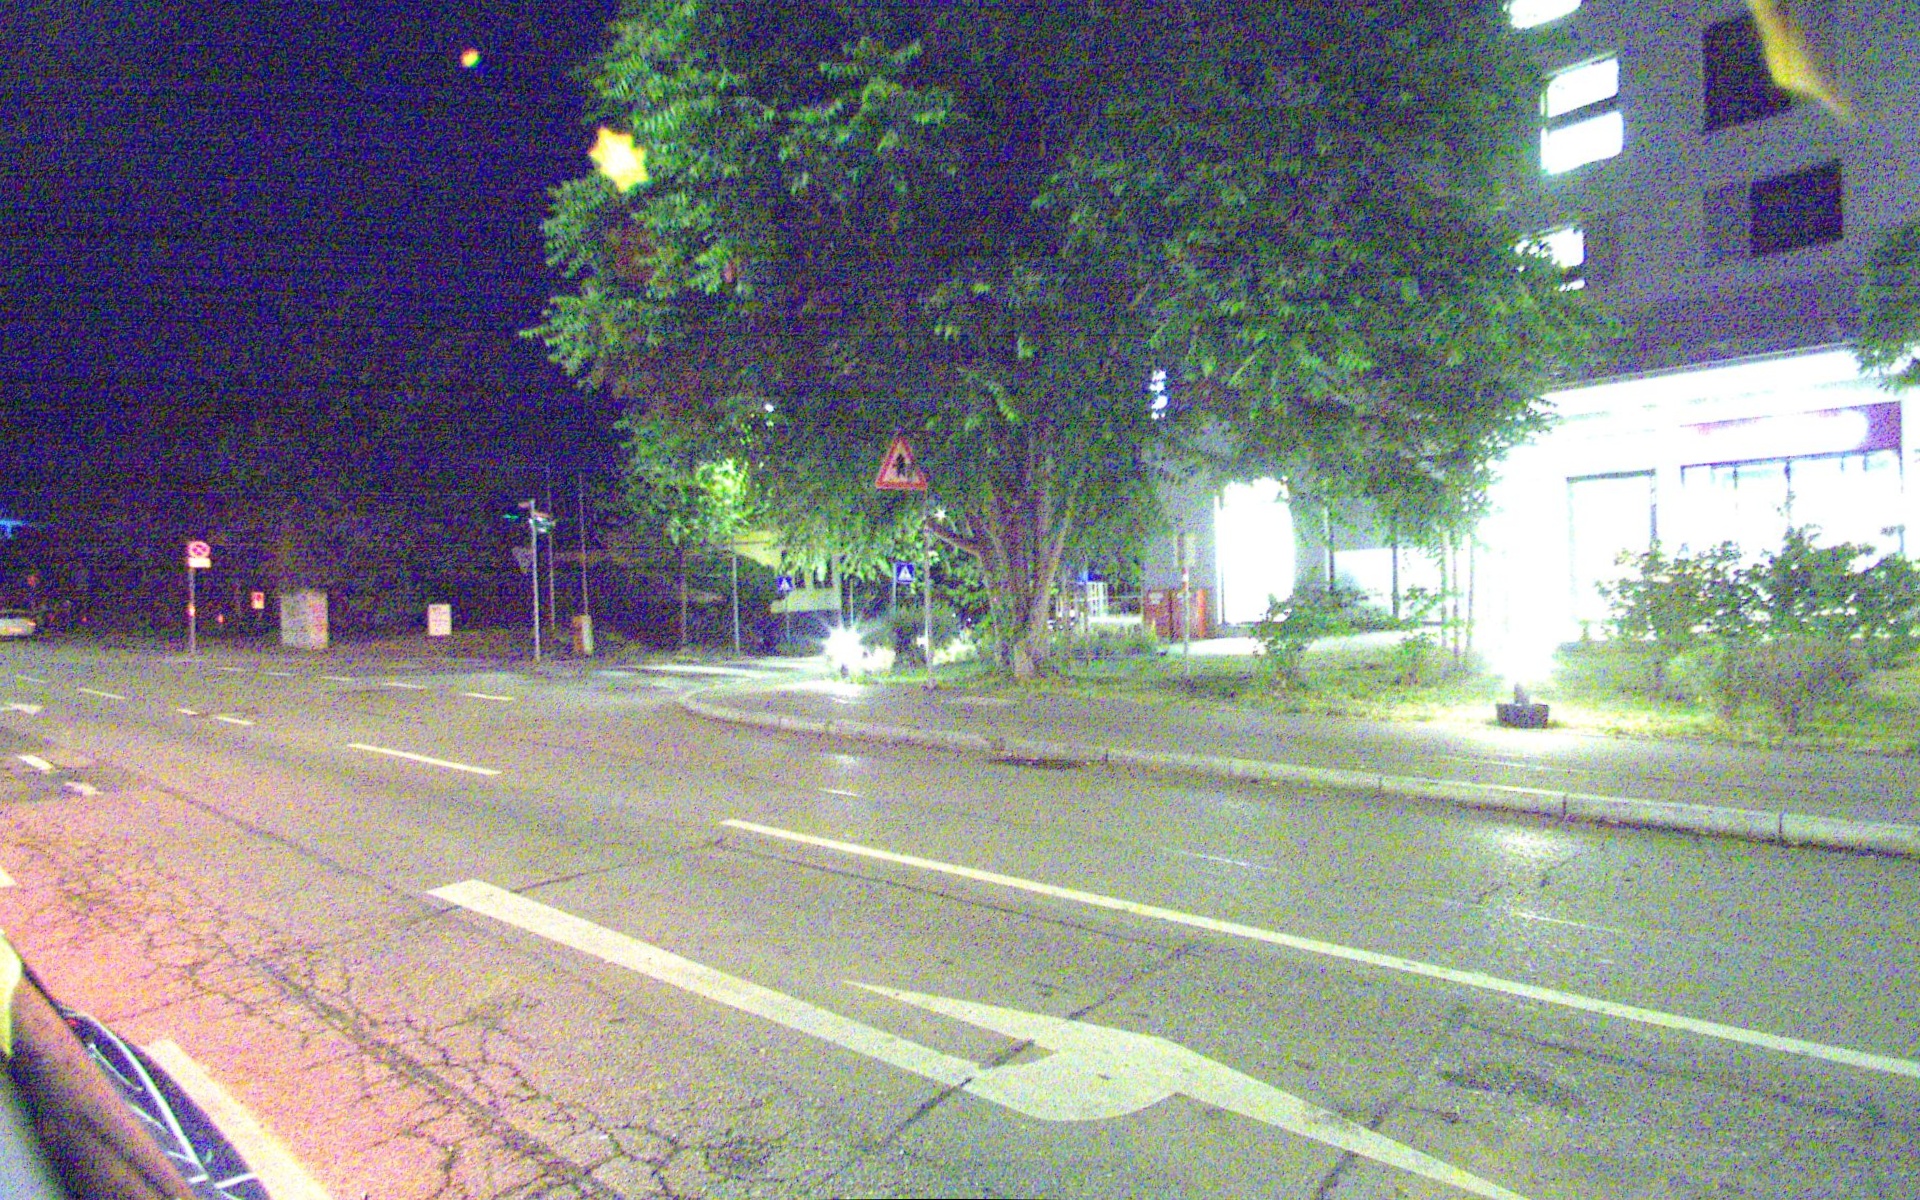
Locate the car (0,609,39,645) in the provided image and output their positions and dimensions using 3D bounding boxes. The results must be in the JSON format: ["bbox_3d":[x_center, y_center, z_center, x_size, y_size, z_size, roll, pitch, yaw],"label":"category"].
[{"bbox_3d":[-43.287,1.208,45.811,3.998,1.464,1.887,1,2,41],"label":"car"}]
